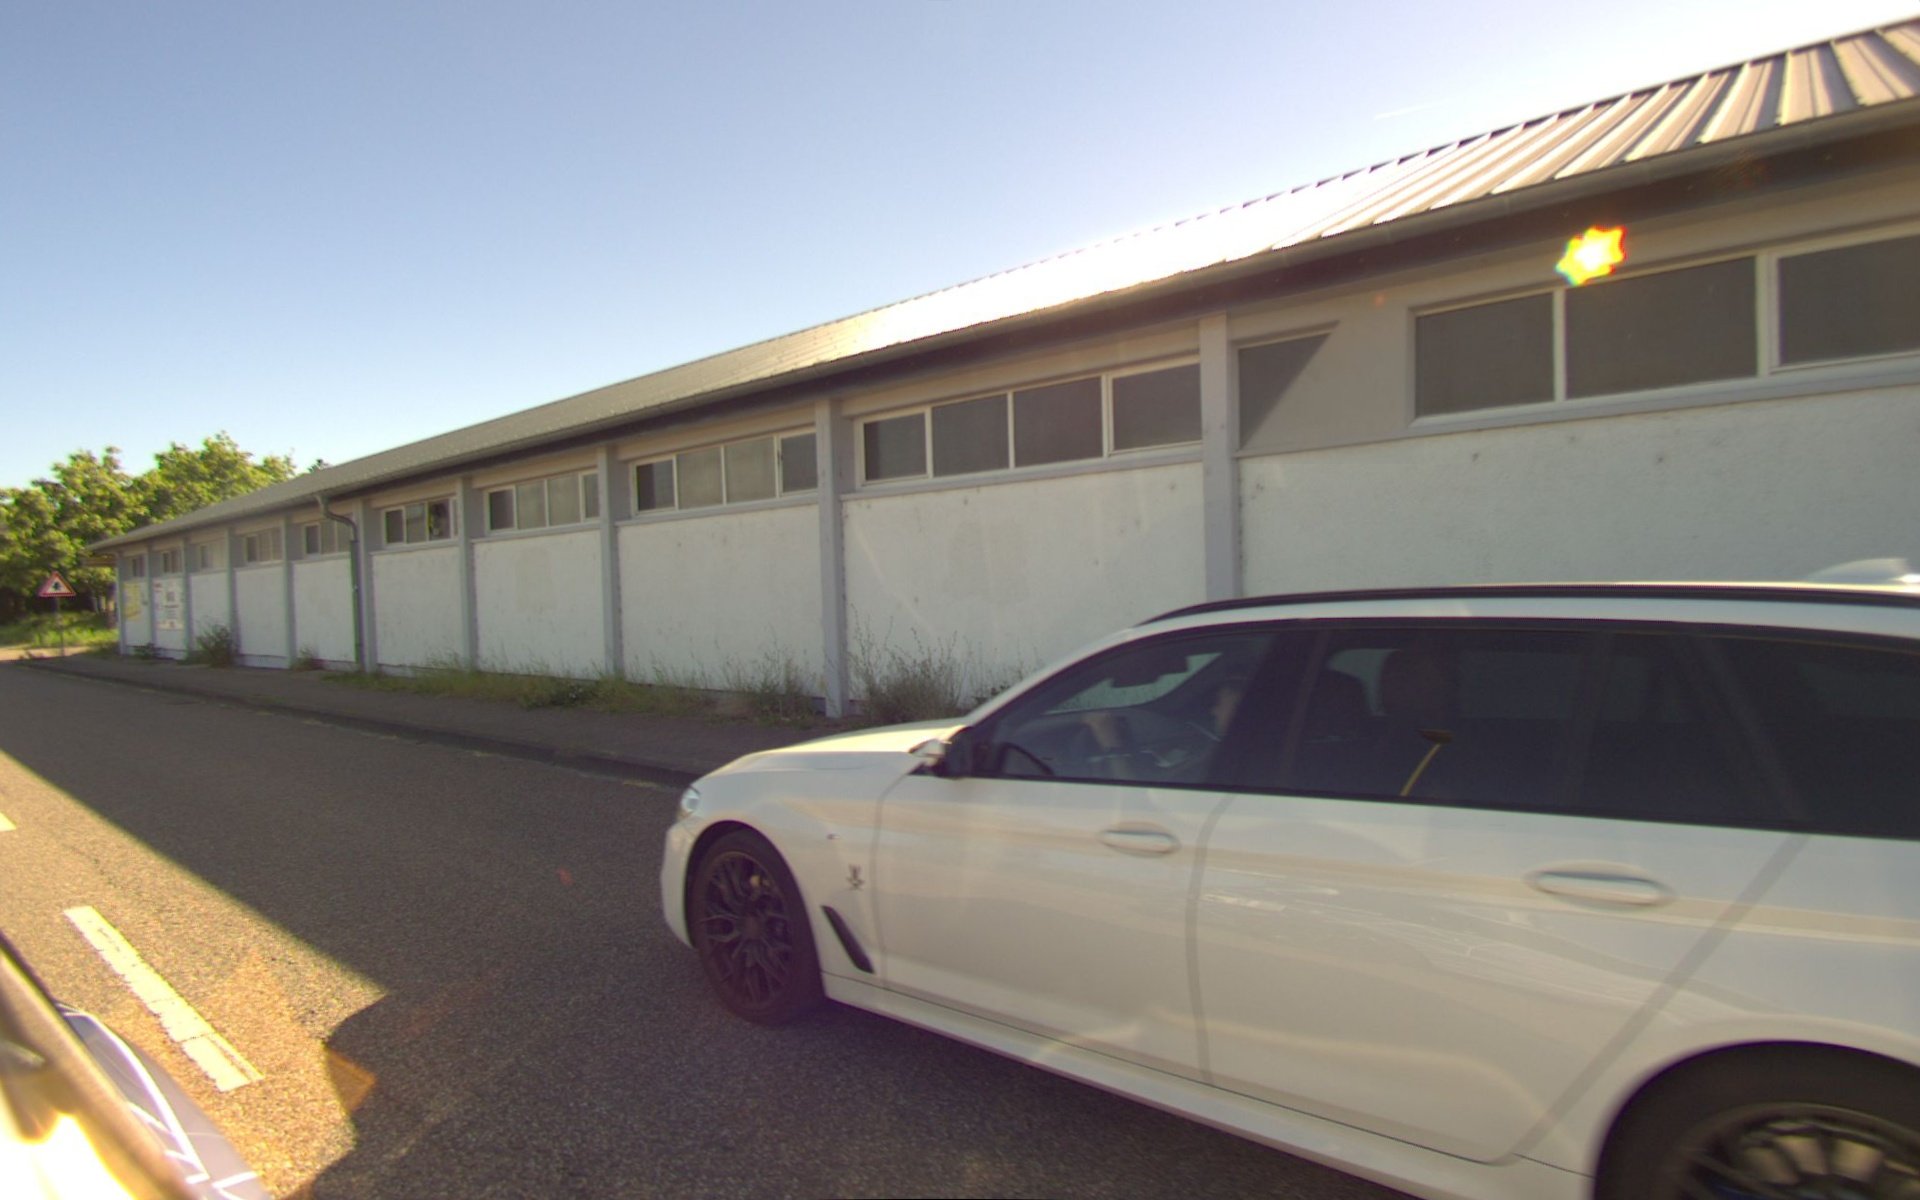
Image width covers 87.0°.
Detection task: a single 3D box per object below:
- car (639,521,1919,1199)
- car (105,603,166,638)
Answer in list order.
[{"bbox_3d":[1.138,0.647,3.030,4.684,1.489,1.790,-2,-1,40],"label":"car"},{"bbox_3d":[-67.274,1.693,82.693,1.913,2.702,6.028,-2,0,-20],"label":"car"}]
